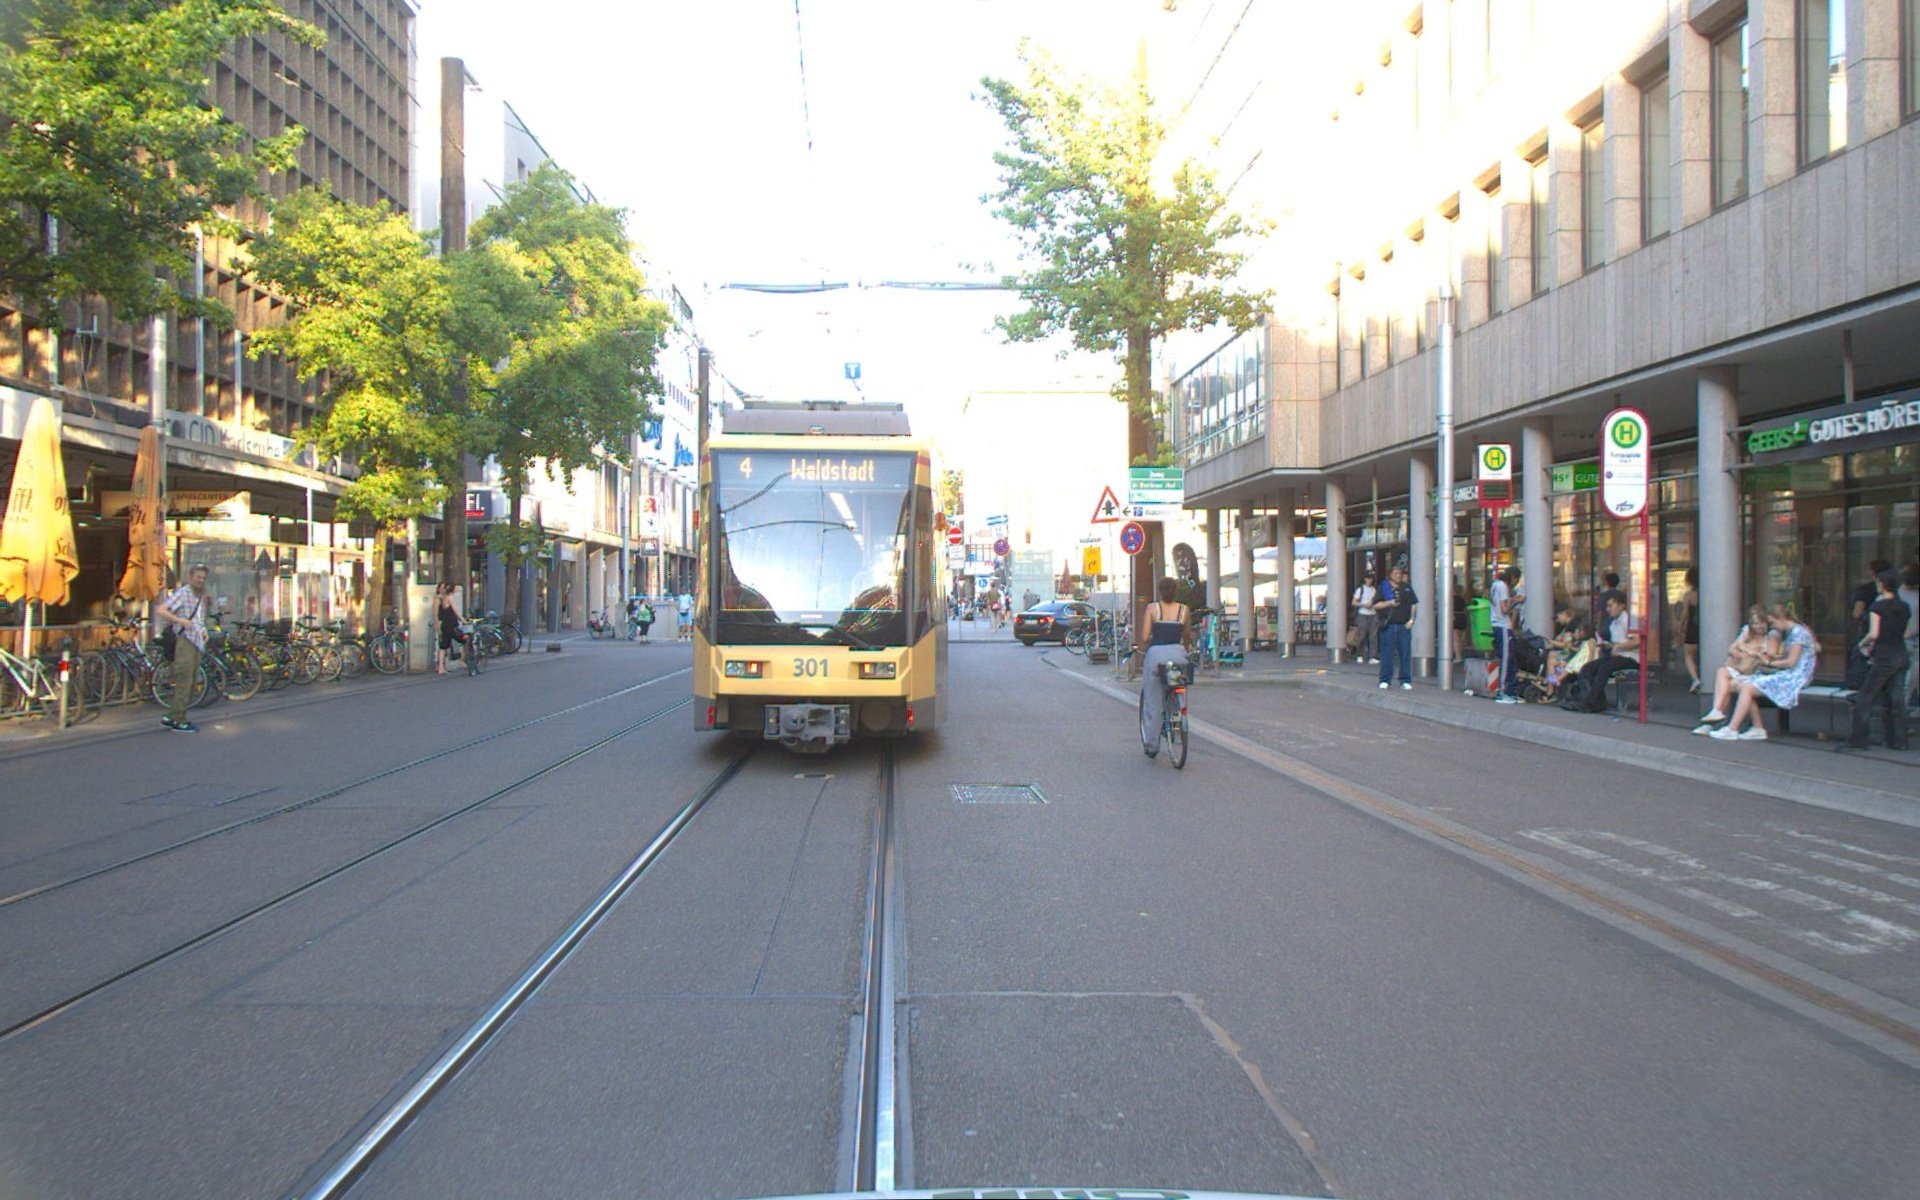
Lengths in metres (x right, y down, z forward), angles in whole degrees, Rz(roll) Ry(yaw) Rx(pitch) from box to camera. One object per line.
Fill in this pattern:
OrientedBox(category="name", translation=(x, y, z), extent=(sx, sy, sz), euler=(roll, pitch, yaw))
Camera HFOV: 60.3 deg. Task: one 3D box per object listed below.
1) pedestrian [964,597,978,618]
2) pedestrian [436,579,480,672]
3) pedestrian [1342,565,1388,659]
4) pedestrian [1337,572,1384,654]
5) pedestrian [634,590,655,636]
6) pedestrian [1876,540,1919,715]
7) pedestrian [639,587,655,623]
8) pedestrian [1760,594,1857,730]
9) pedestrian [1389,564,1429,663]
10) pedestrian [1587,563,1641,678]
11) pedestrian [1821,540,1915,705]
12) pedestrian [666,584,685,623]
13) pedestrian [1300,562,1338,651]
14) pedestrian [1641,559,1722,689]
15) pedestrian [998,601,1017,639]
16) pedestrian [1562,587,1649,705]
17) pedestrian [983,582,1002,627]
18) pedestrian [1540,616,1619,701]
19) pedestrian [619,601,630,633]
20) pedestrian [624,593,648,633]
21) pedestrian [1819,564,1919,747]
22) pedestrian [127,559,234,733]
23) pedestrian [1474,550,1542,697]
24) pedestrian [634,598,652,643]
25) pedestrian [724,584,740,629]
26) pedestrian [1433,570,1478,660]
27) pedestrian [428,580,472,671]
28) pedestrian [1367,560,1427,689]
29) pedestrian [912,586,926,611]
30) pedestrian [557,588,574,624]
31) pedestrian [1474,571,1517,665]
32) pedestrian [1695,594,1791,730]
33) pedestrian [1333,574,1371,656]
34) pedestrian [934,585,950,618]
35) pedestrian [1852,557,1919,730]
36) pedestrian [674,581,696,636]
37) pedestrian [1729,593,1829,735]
OrientedBox(category="pedestrian", translation=(0.641, 0.439, 96.287), extent=(0.777, 1.243, 0.768), euler=(0, 0, -6))
OrientedBox(category="pedestrian", translation=(-9.506, 0.477, 31.300), extent=(0.589, 1.729, 0.535), euler=(1, 0, 27))
OrientedBox(category="pedestrian", translation=(8.233, 0.236, 33.667), extent=(0.655, 1.872, 0.879), euler=(-1, 0, -2))
OrientedBox(category="pedestrian", translation=(8.656, 0.276, 35.786), extent=(0.748, 1.749, 0.923), euler=(-1, -1, -1))
OrientedBox(category="pedestrian", translation=(-10.952, 0.460, 57.413), extent=(0.670, 1.569, 0.605), euler=(0, -1, -4))
OrientedBox(category="pedestrian", translation=(10.791, 0.297, 18.437), extent=(0.673, 1.915, 0.773), euler=(-1, 0, -3))
OrientedBox(category="pedestrian", translation=(-15.203, 0.242, 80.307), extent=(0.699, 1.756, 0.709), euler=(0, -1, -4))
OrientedBox(category="pedestrian", translation=(8.546, 0.618, 16.678), extent=(0.703, 1.337, 0.532), euler=(0, 0, -1))
OrientedBox(category="pedestrian", translation=(8.448, 0.256, 31.127), extent=(0.528, 1.838, 0.604), euler=(-1, 0, -3))
OrientedBox(category="pedestrian", translation=(10.247, 0.320, 25.922), extent=(0.559, 1.762, 0.617), euler=(-1, 0, -3))
OrientedBox(category="pedestrian", translation=(10.138, 0.245, 18.477), extent=(0.570, 1.783, 0.773), euler=(-1, 0, -3))
OrientedBox(category="pedestrian", translation=(-13.008, 0.177, 75.514), extent=(0.595, 1.756, 0.624), euler=(-1, -1, 44))
OrientedBox(category="pedestrian", translation=(8.315, 0.148, 38.321), extent=(0.672, 2.049, 0.782), euler=(-1, 0, -2))
OrientedBox(category="pedestrian", translation=(10.239, 0.334, 23.488), extent=(0.757, 1.803, 0.773), euler=(-1, 0, -3))
OrientedBox(category="pedestrian", translation=(2.322, 0.964, 80.827), extent=(0.722, 1.855, 0.816), euler=(0, 0, -17))
OrientedBox(category="pedestrian", translation=(7.853, 0.553, 20.131), extent=(0.796, 1.405, 0.662), euler=(0, 0, -1))
OrientedBox(category="pedestrian", translation=(1.295, 0.176, 65.303), extent=(0.703, 1.756, 0.709), euler=(0, -1, -2))
OrientedBox(category="pedestrian", translation=(7.846, 0.735, 20.974), extent=(0.796, 1.061, 0.544), euler=(0, 0, -1))
OrientedBox(category="pedestrian", translation=(-16.767, 0.863, 82.589), extent=(0.499, 1.574, 0.516), euler=(0, -1, -10))
OrientedBox(category="pedestrian", translation=(-11.767, 0.474, 60.090), extent=(0.544, 1.459, 0.682), euler=(-1, -1, 36))
OrientedBox(category="pedestrian", translation=(8.281, 0.483, 14.864), extent=(0.709, 1.597, 0.736), euler=(-1, 0, 0))
OrientedBox(category="pedestrian", translation=(-8.476, 0.486, 17.980), extent=(0.815, 1.824, 0.975), euler=(0, -1, -42))
OrientedBox(category="pedestrian", translation=(7.124, 0.299, 21.521), extent=(0.626, 1.872, 0.667), euler=(-1, 0, -1))
OrientedBox(category="pedestrian", translation=(-10.853, 0.696, 56.593), extent=(0.592, 1.520, 0.554), euler=(0, -1, -10))
OrientedBox(category="pedestrian", translation=(-10.060, 0.282, 72.983), extent=(0.700, 1.959, 0.708), euler=(0, -1, -7))
OrientedBox(category="pedestrian", translation=(10.145, 0.300, 33.886), extent=(0.649, 1.818, 0.719), euler=(-1, 0, -2))
OrientedBox(category="pedestrian", translation=(-9.787, 0.478, 31.730), extent=(0.589, 1.729, 0.535), euler=(1, 0, 27))
OrientedBox(category="pedestrian", translation=(6.495, 0.362, 24.616), extent=(0.655, 1.872, 0.708), euler=(-1, 0, -3))
OrientedBox(category="pedestrian", translation=(-2.797, -0.119, 112.901), extent=(0.750, 1.690, 0.795), euler=(0, 0, 10))
OrientedBox(category="pedestrian", translation=(-19.741, 0.308, 82.691), extent=(0.699, 1.756, 0.709), euler=(0, -1, -4))
OrientedBox(category="pedestrian", translation=(10.199, 0.335, 31.522), extent=(0.559, 1.762, 0.617), euler=(-1, 0, -3))
OrientedBox(category="pedestrian", translation=(7.825, 0.611, 16.537), extent=(0.703, 1.337, 0.532), euler=(0, 0, -1))
OrientedBox(category="pedestrian", translation=(8.886, 0.335, 37.497), extent=(0.649, 1.818, 0.719), euler=(-1, 0, -2))
OrientedBox(category="pedestrian", translation=(-1.008, 0.083, 93.165), extent=(0.722, 1.855, 0.816), euler=(0, 0, -17))
OrientedBox(category="pedestrian", translation=(9.467, 0.423, 16.526), extent=(0.673, 1.690, 0.722), euler=(-1, 0, -1))
OrientedBox(category="pedestrian", translation=(-9.858, 0.319, 59.230), extent=(0.759, 1.960, 0.708), euler=(0, -1, -10))
OrientedBox(category="pedestrian", translation=(7.922, 0.610, 16.008), extent=(0.703, 1.337, 0.524), euler=(0, 0, -1))
